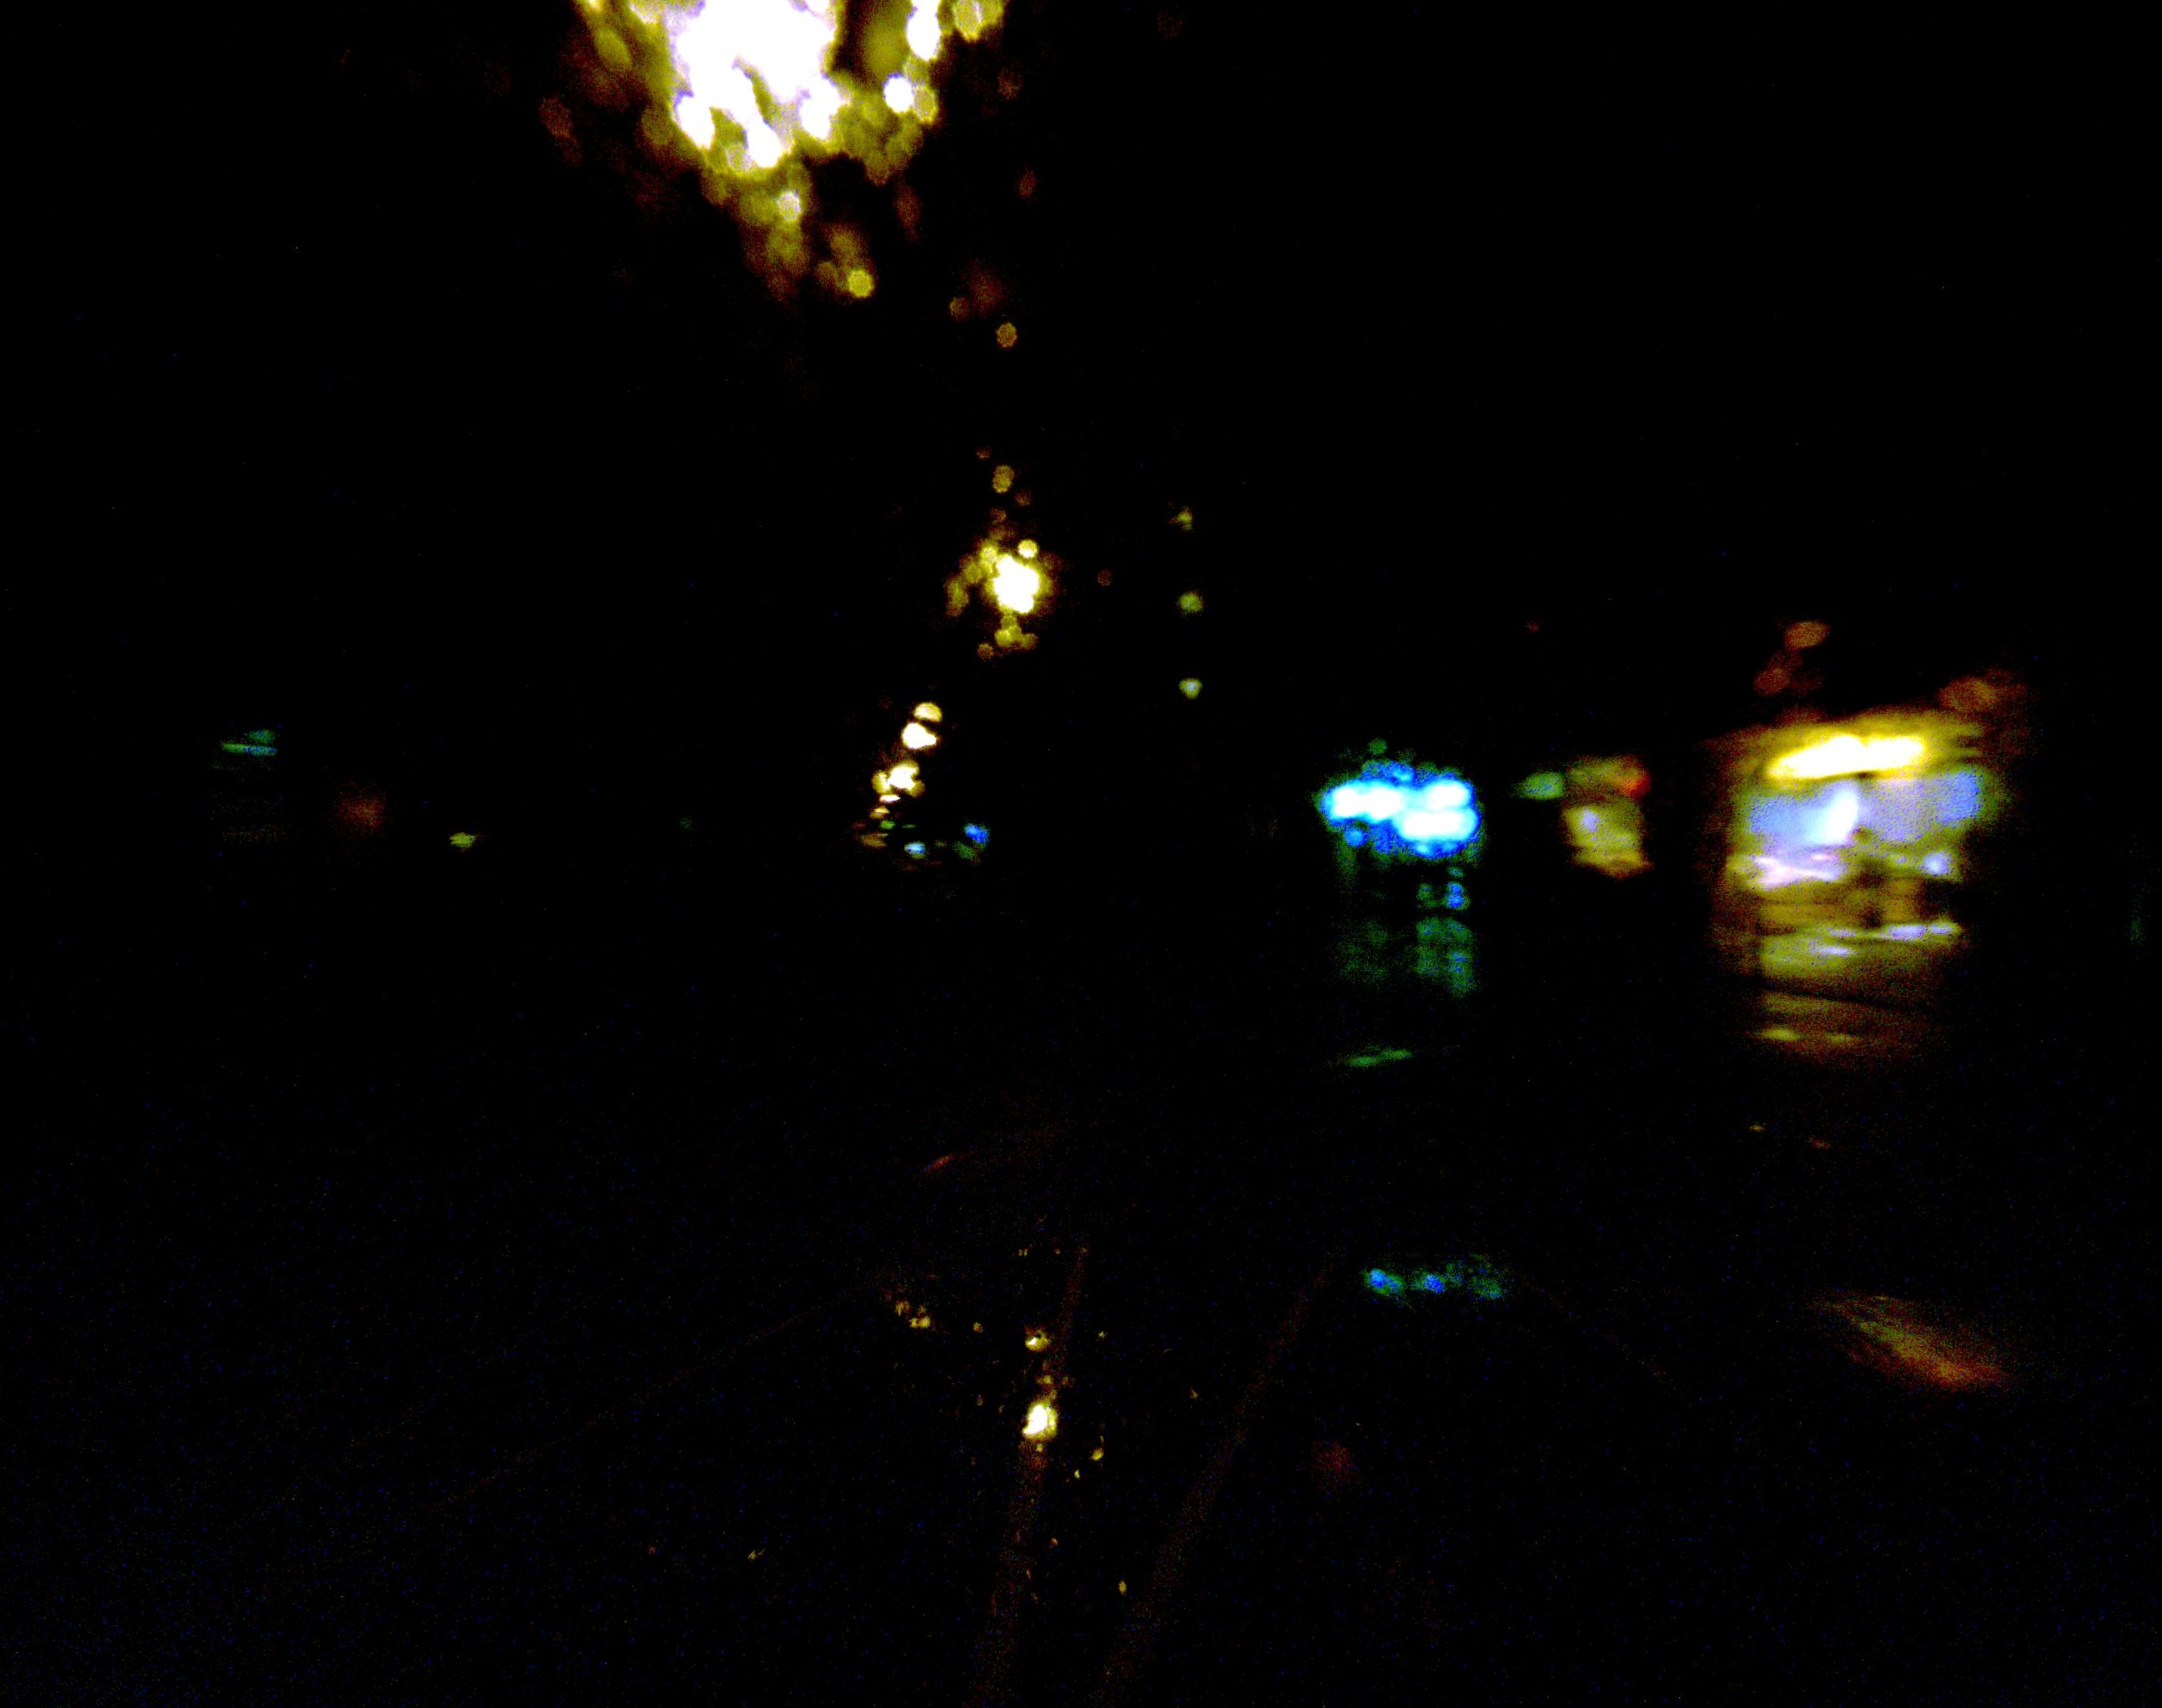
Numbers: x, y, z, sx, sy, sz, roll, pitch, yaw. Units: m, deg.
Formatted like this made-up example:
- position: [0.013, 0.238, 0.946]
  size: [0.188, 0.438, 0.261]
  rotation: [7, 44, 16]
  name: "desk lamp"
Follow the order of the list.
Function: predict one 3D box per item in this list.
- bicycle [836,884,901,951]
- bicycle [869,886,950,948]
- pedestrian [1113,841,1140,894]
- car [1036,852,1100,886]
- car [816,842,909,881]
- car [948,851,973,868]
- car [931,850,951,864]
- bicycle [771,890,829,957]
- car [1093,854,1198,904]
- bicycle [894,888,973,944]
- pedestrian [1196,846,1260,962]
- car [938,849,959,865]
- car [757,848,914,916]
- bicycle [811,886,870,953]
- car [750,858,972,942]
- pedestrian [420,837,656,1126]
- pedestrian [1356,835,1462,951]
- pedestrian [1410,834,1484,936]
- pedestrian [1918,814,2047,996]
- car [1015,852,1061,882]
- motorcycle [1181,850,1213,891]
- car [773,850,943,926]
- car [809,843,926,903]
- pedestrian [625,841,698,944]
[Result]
- position: [-3.880, 1.126, 13.802]
  size: [1.641, 1.021, 0.336]
  rotation: [4, 5, 44]
  name: "bicycle"
- position: [-3.206, 1.161, 14.172]
  size: [1.641, 1.020, 0.336]
  rotation: [2, 1, 29]
  name: "bicycle"
- position: [1.962, 0.548, 32.731]
  size: [0.802, 2.228, 1.115]
  rotation: [-1, 1, -17]
  name: "pedestrian"
- position: [-0.684, 0.666, 35.909]
  size: [1.723, 1.470, 4.152]
  rotation: [-2, 1, -19]
  name: "car"
- position: [-12.468, 0.397, 43.618]
  size: [1.973, 1.969, 4.720]
  rotation: [1, 3, 45]
  name: "car"
- position: [-11.594, 0.485, 72.752]
  size: [1.854, 1.470, 3.729]
  rotation: [-3, 1, -17]
  name: "car"
- position: [-16.400, 0.314, 89.111]
  size: [1.854, 1.571, 3.729]
  rotation: [-3, 1, -17]
  name: "car"
- position: [-4.888, 1.173, 13.162]
  size: [0.337, 1.020, 1.641]
  rotation: [0, 1, -42]
  name: "bicycle"
- position: [2.054, 0.764, 25.902]
  size: [1.854, 1.470, 5.023]
  rotation: [-2, 1, -16]
  name: "car"
- position: [-2.870, 1.178, 14.756]
  size: [1.642, 1.020, 0.336]
  rotation: [-1, 0, 27]
  name: "bicycle"
- position: [2.333, 0.775, 12.122]
  size: [0.828, 1.761, 0.600]
  rotation: [-2, 1, -4]
  name: "pedestrian"
- position: [-14.649, 0.304, 83.959]
  size: [1.854, 1.571, 3.729]
  rotation: [-3, 1, -17]
  name: "car"
- position: [-6.703, 0.706, 21.053]
  size: [1.743, 1.702, 3.802]
  rotation: [1, 0, 39]
  name: "car"
- position: [-4.306, 1.140, 13.536]
  size: [0.337, 1.086, 1.641]
  rotation: [0, 0, -42]
  name: "bicycle"
- position: [-4.615, 0.893, 16.408]
  size: [4.272, 1.564, 1.766]
  rotation: [1, 0, -45]
  name: "car"
- position: [-3.787, 0.800, 5.372]
  size: [0.877, 1.823, 0.985]
  rotation: [0, 1, 20]
  name: "pedestrian"
- position: [5.574, 0.616, 12.984]
  size: [0.959, 1.852, 1.413]
  rotation: [-1, 1, -17]
  name: "pedestrian"
- position: [6.863, 0.561, 14.303]
  size: [0.677, 1.822, 1.076]
  rotation: [-3, 1, -14]
  name: "pedestrian"
- position: [9.787, 0.531, 8.271]
  size: [0.654, 1.898, 0.628]
  rotation: [-1, 0, 1]
  name: "pedestrian"
- position: [-2.384, 0.646, 41.014]
  size: [1.722, 1.470, 3.780]
  rotation: [-3, 1, -14]
  name: "car"
- position: [4.222, 0.578, 27.749]
  size: [0.539, 1.462, 1.455]
  rotation: [-3, 1, -17]
  name: "motorcycle"
- position: [-5.527, 0.782, 19.146]
  size: [1.766, 1.702, 3.748]
  rotation: [1, 0, 39]
  name: "car"
- position: [-7.597, 0.639, 27.271]
  size: [1.716, 2.017, 3.748]
  rotation: [1, 0, 39]
  name: "car"
- position: [-7.654, 0.679, 13.881]
  size: [0.790, 1.807, 0.811]
  rotation: [0, 2, 8]
  name: "pedestrian"
